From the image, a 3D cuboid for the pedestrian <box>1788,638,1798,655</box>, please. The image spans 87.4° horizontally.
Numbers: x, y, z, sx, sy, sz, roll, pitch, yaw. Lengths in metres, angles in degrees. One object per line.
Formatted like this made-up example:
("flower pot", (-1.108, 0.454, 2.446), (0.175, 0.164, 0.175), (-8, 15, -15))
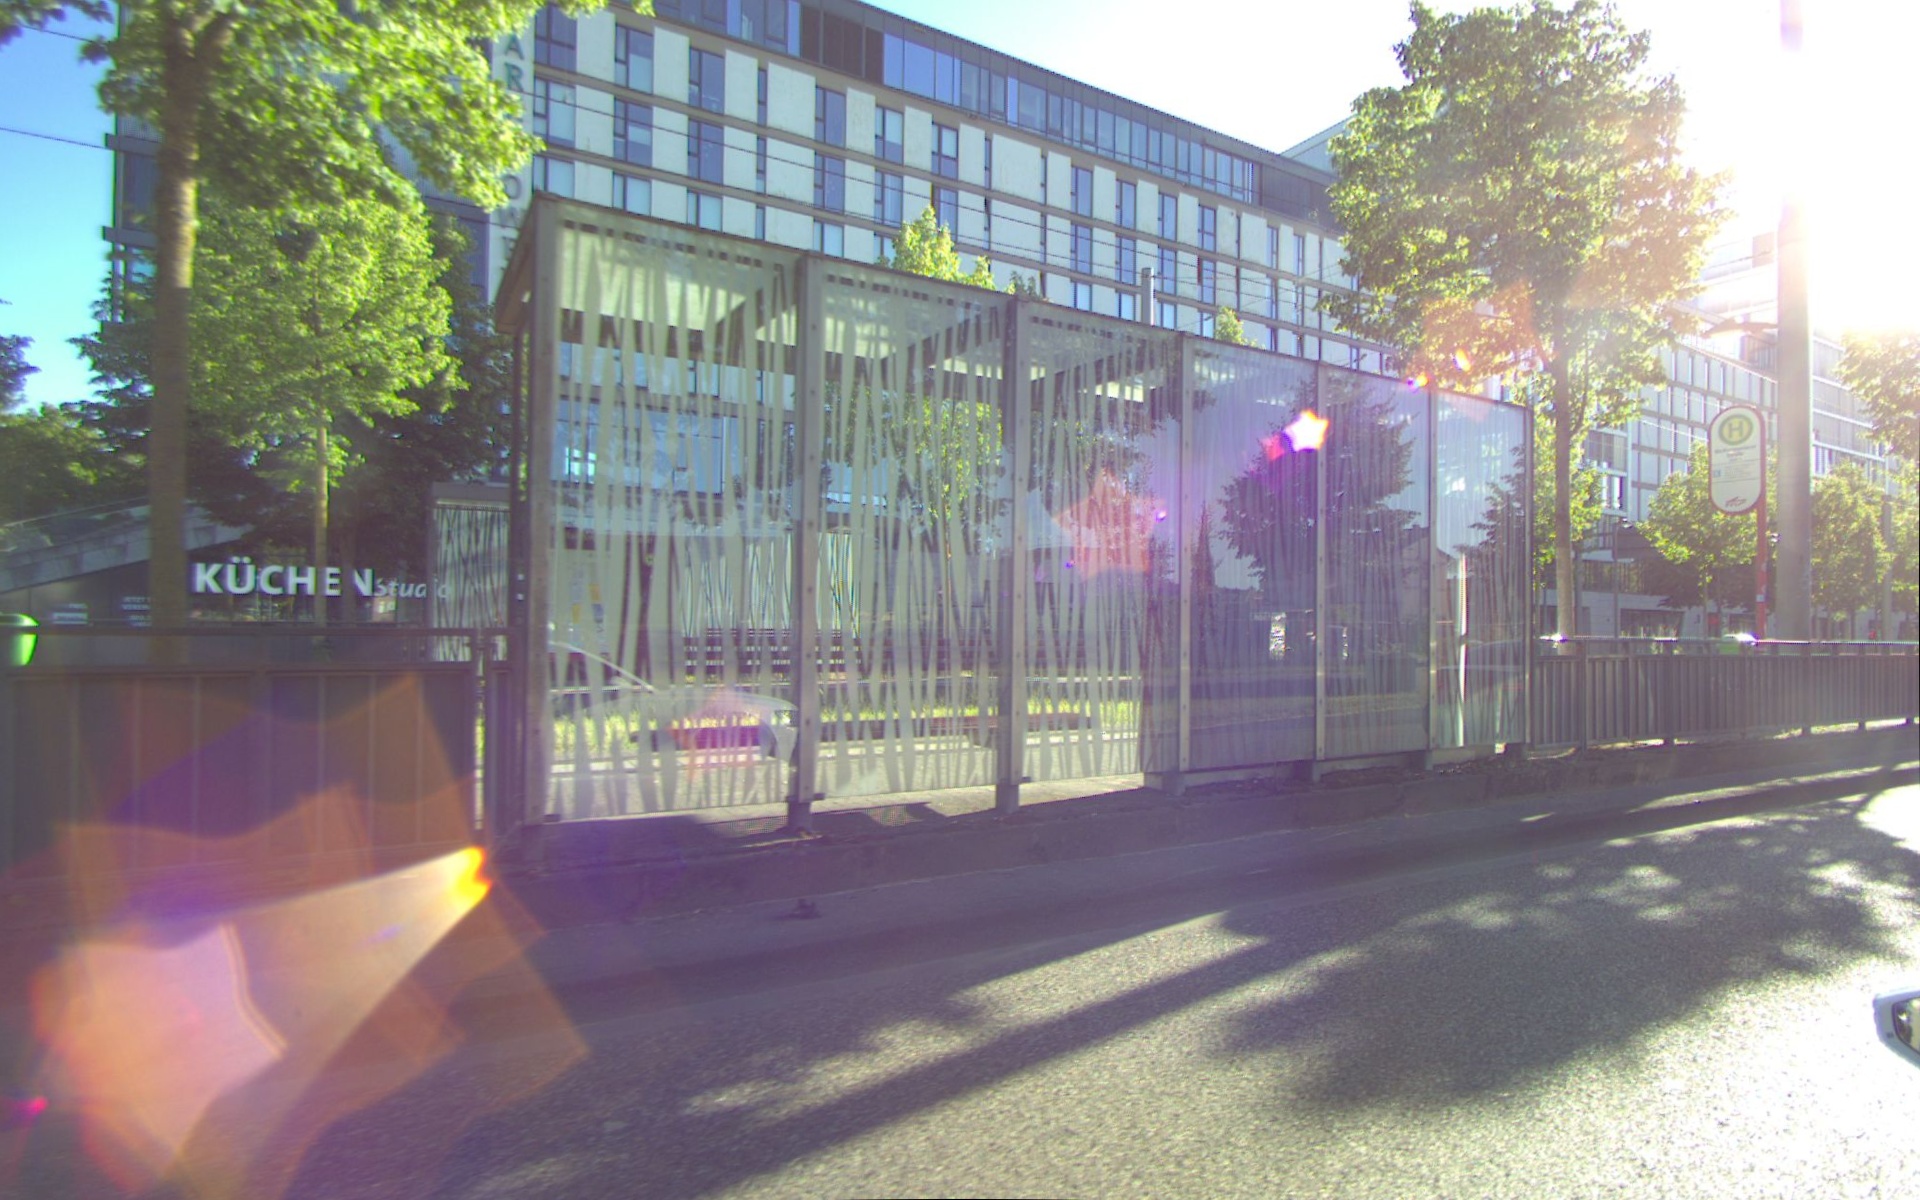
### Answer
("pedestrian", (71.045, 3.939, 85.640), (0.682, 1.431, 0.405), (3, -2, -30))
